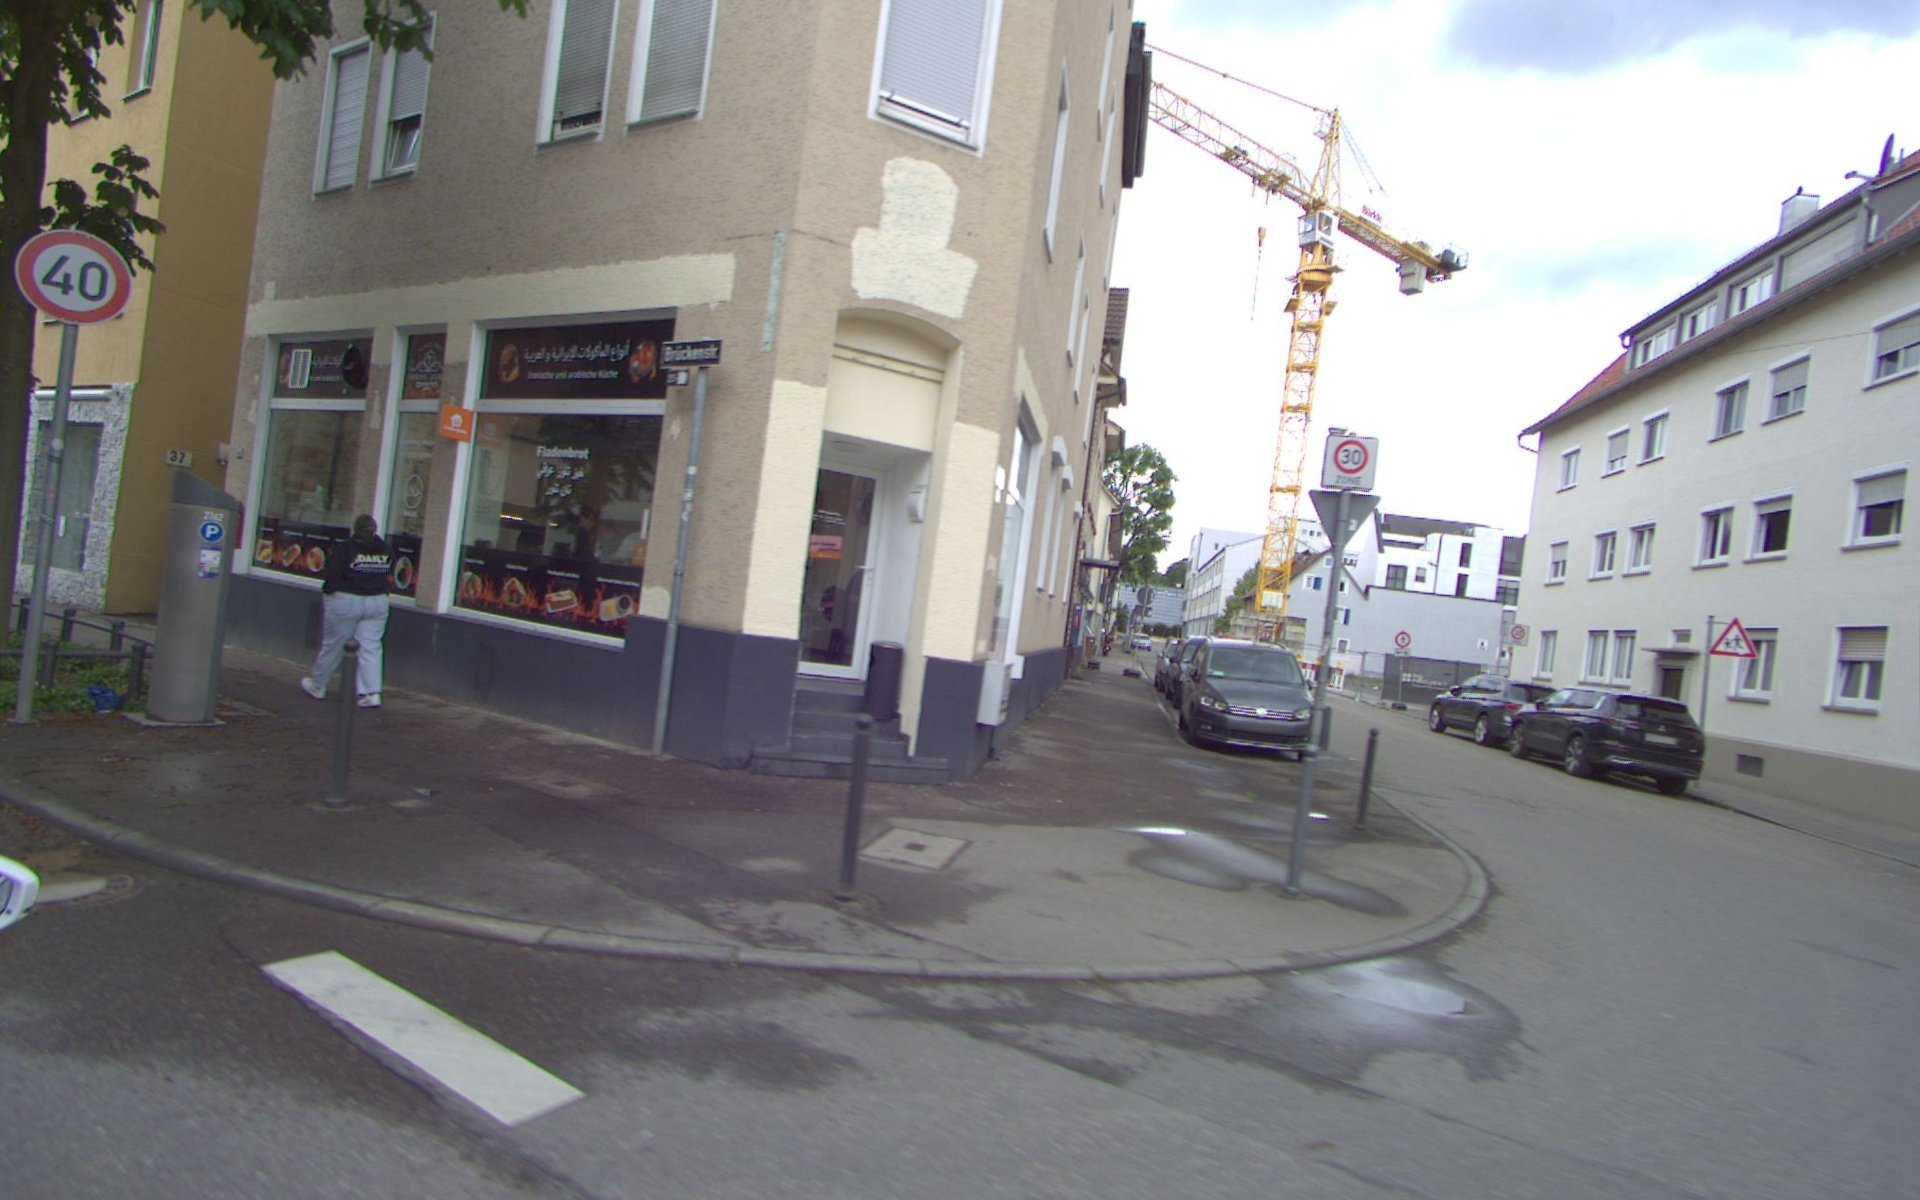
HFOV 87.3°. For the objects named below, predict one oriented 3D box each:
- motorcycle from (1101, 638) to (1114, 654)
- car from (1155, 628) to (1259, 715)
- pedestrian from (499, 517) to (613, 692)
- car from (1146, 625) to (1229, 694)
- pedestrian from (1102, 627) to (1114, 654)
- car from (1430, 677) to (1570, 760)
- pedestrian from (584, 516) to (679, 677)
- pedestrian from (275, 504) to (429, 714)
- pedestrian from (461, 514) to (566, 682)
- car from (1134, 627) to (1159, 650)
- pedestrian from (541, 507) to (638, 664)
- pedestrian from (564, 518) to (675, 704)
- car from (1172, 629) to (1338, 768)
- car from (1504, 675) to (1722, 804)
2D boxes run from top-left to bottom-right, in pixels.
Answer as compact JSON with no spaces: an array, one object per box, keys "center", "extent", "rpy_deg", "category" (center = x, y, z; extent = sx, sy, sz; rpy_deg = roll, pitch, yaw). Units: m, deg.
[{"center":[7.495,2.327,51.033],"extent":[0.484,0.735,1.663],"rpy_deg":[7,-1,13],"category":"motorcycle"},{"center":[5.666,1.629,23.555],"extent":[1.631,1.640,4.238],"rpy_deg":[7,-2,6],"category":"car"},{"center":[-3.886,0.049,9.687],"extent":[0.644,1.579,0.568],"rpy_deg":[7,-1,31],"category":"pedestrian"},{"center":[6.457,1.695,28.958],"extent":[1.653,1.640,4.238],"rpy_deg":[7,-2,6],"category":"car"},{"center":[7.512,2.045,51.053],"extent":[0.442,1.294,0.349],"rpy_deg":[7,1,13],"category":"pedestrian"},{"center":[13.020,2.818,24.520],"extent":[1.741,1.530,3.735],"rpy_deg":[7,-1,10],"category":"car"},{"center":[-3.407,-0.026,10.449],"extent":[0.512,1.579,0.568],"rpy_deg":[7,-1,31],"category":"pedestrian"},{"center":[-5.294,0.076,8.756],"extent":[0.966,1.673,0.615],"rpy_deg":[8,1,30],"category":"pedestrian"},{"center":[-4.427,-0.013,9.996],"extent":[0.547,1.579,0.568],"rpy_deg":[7,-1,31],"category":"pedestrian"},{"center":[17.207,3.592,93.053],"extent":[1.962,1.859,4.005],"rpy_deg":[7,-2,9],"category":"car"},{"center":[-3.960,-0.148,10.767],"extent":[0.552,1.579,0.568],"rpy_deg":[7,-1,31],"category":"pedestrian"},{"center":[-3.052,0.111,9.036],"extent":[0.512,1.579,0.568],"rpy_deg":[7,-1,31],"category":"pedestrian"},{"center":[4.447,1.458,15.808],"extent":[1.850,1.640,4.239],"rpy_deg":[7,-2,10],"category":"car"},{"center":[12.326,2.542,19.365],"extent":[1.742,1.702,4.235],"rpy_deg":[10,0,10],"category":"car"}]
